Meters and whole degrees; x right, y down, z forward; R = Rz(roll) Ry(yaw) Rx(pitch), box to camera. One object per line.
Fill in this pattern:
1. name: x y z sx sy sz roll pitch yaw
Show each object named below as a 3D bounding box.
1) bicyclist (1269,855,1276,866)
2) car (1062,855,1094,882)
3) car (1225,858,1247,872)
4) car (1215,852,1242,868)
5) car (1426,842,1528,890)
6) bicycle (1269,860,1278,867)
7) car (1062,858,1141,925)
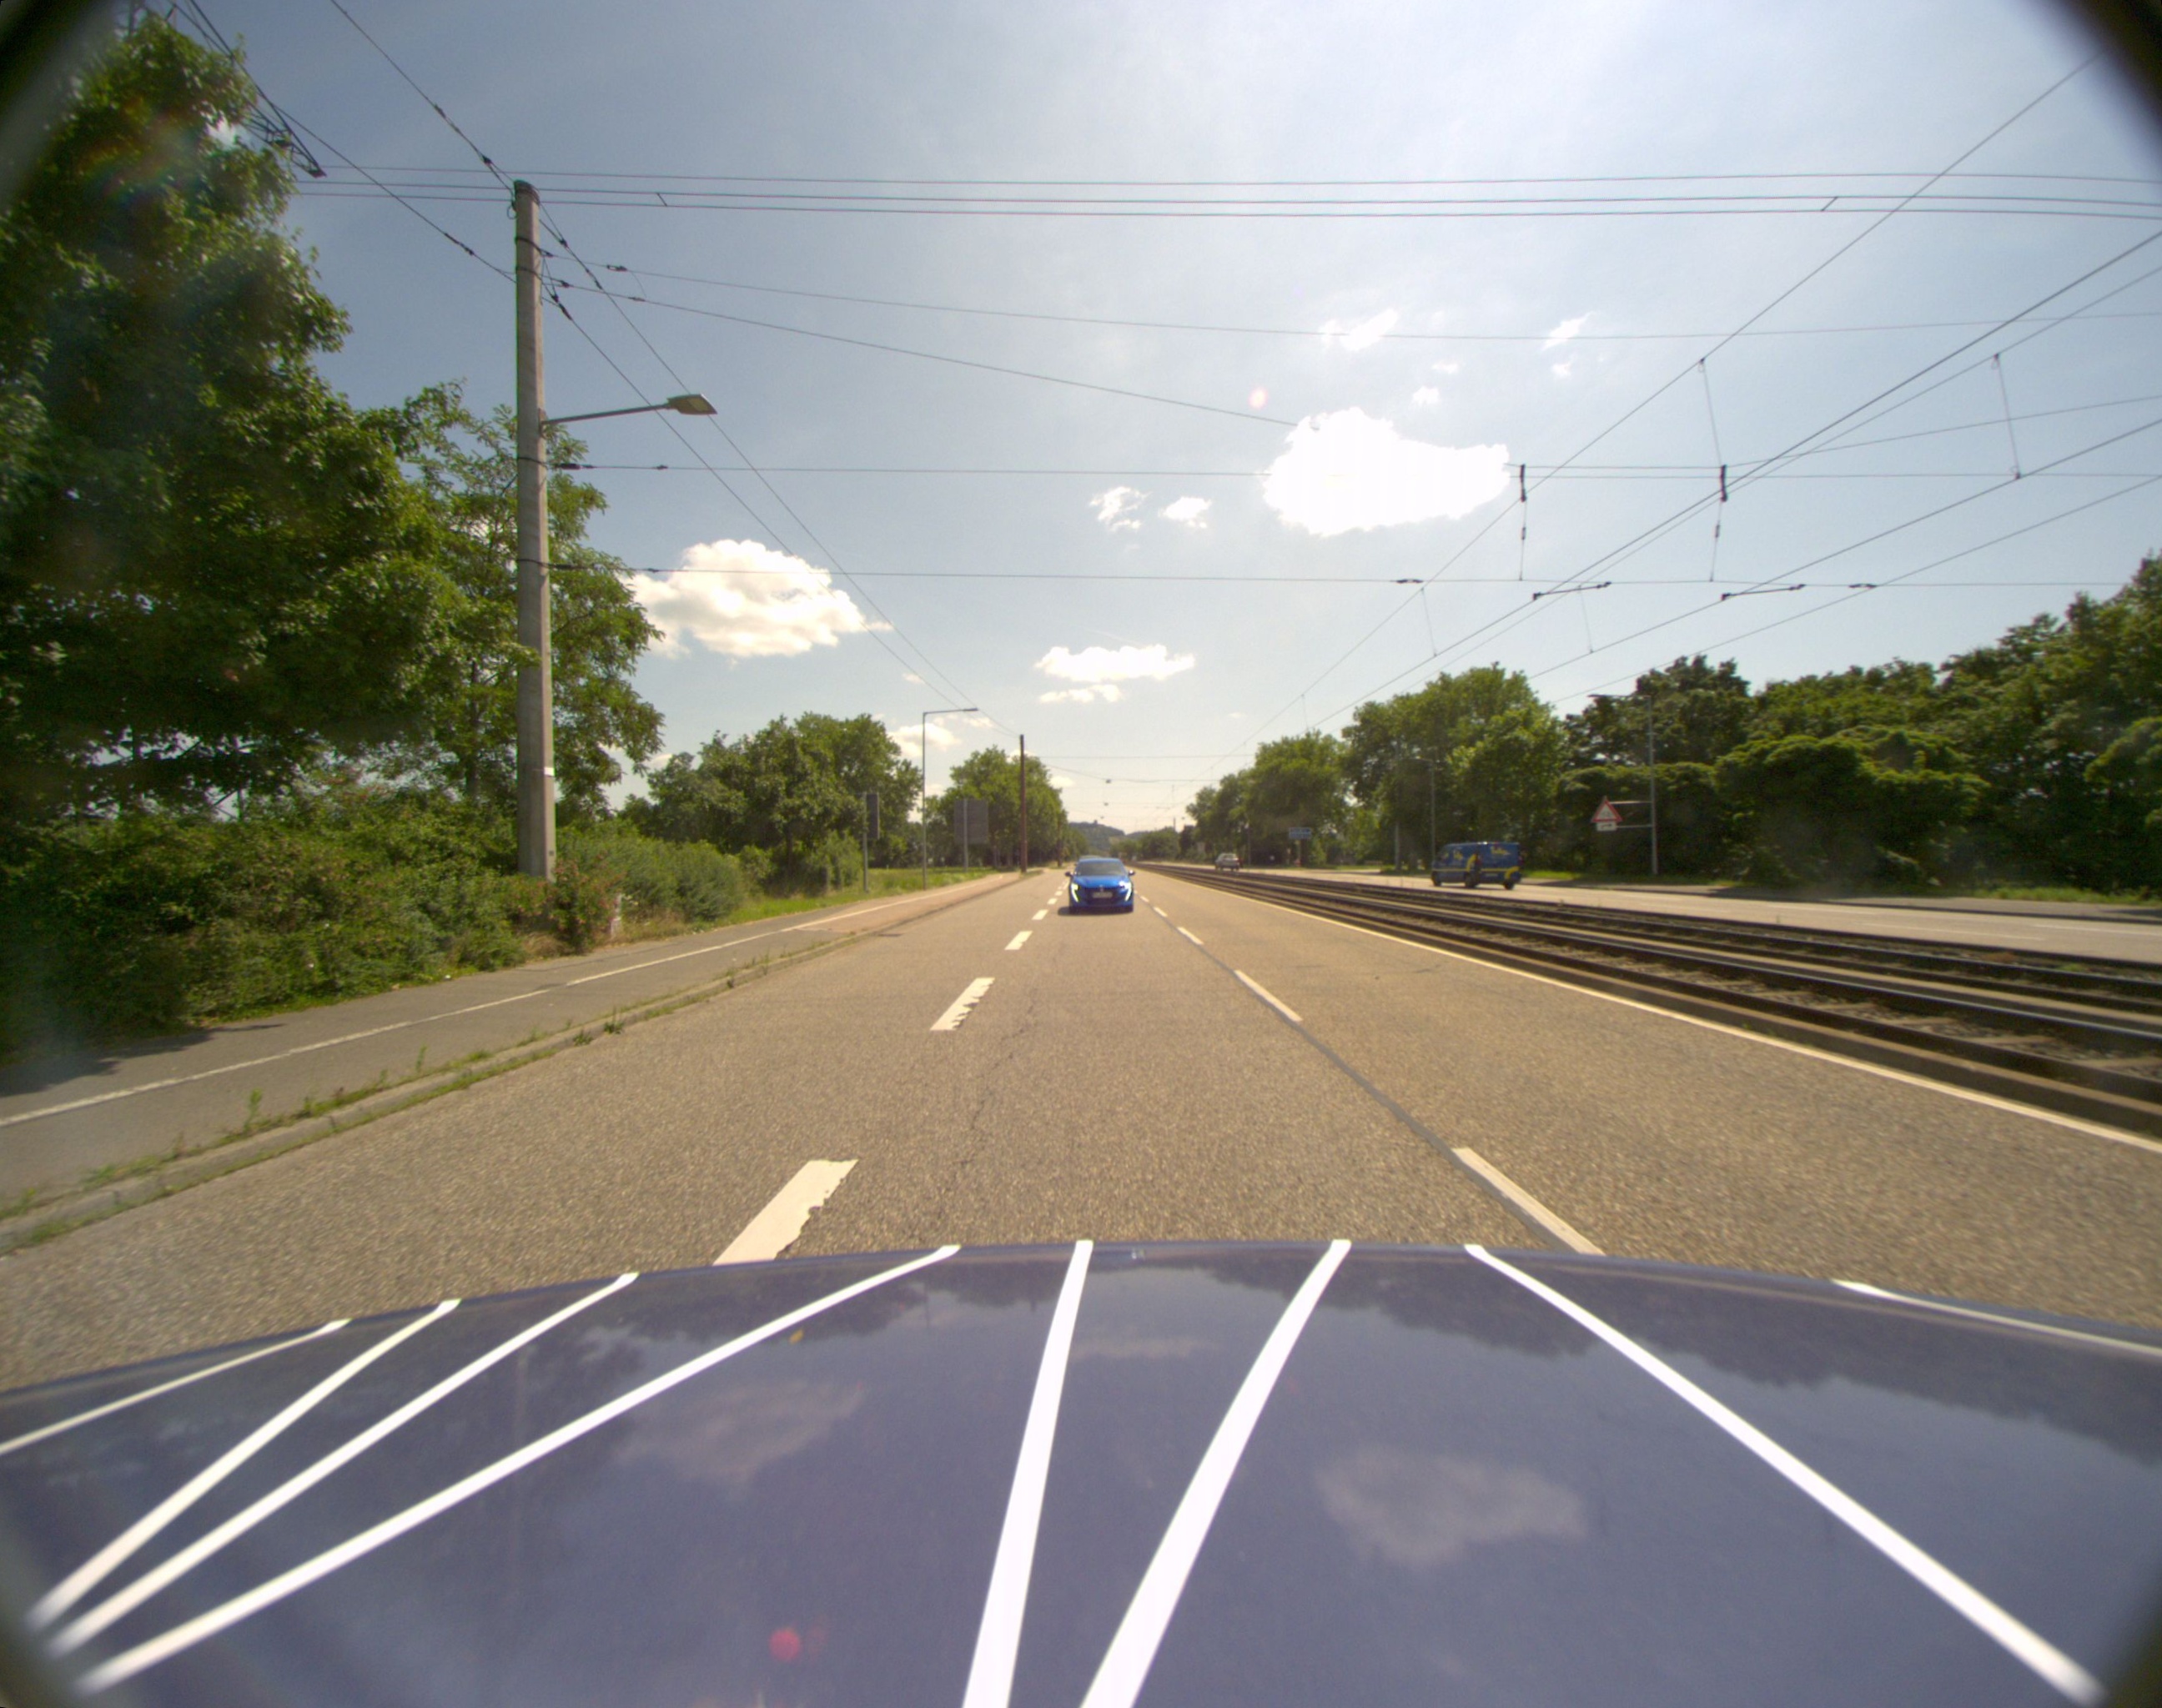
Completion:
1. bicyclist: 25.709 0.870 101.784 0.623 1.509 1.160 -1 1 0
2. car: -0.144 0.822 45.055 1.771 1.422 4.000 -2 0 1
3. car: 18.674 1.318 91.604 1.806 1.616 4.211 0 0 1
4. car: 14.608 0.580 75.521 1.806 1.616 4.494 0 0 1
5. car: 17.025 0.478 32.955 1.861 1.916 5.008 0 0 1
6. bicycle: 25.731 1.280 101.735 0.623 0.934 2.091 -1 0 0
7. car: 0.520 0.893 20.013 1.771 1.463 4.467 -2 0 1
